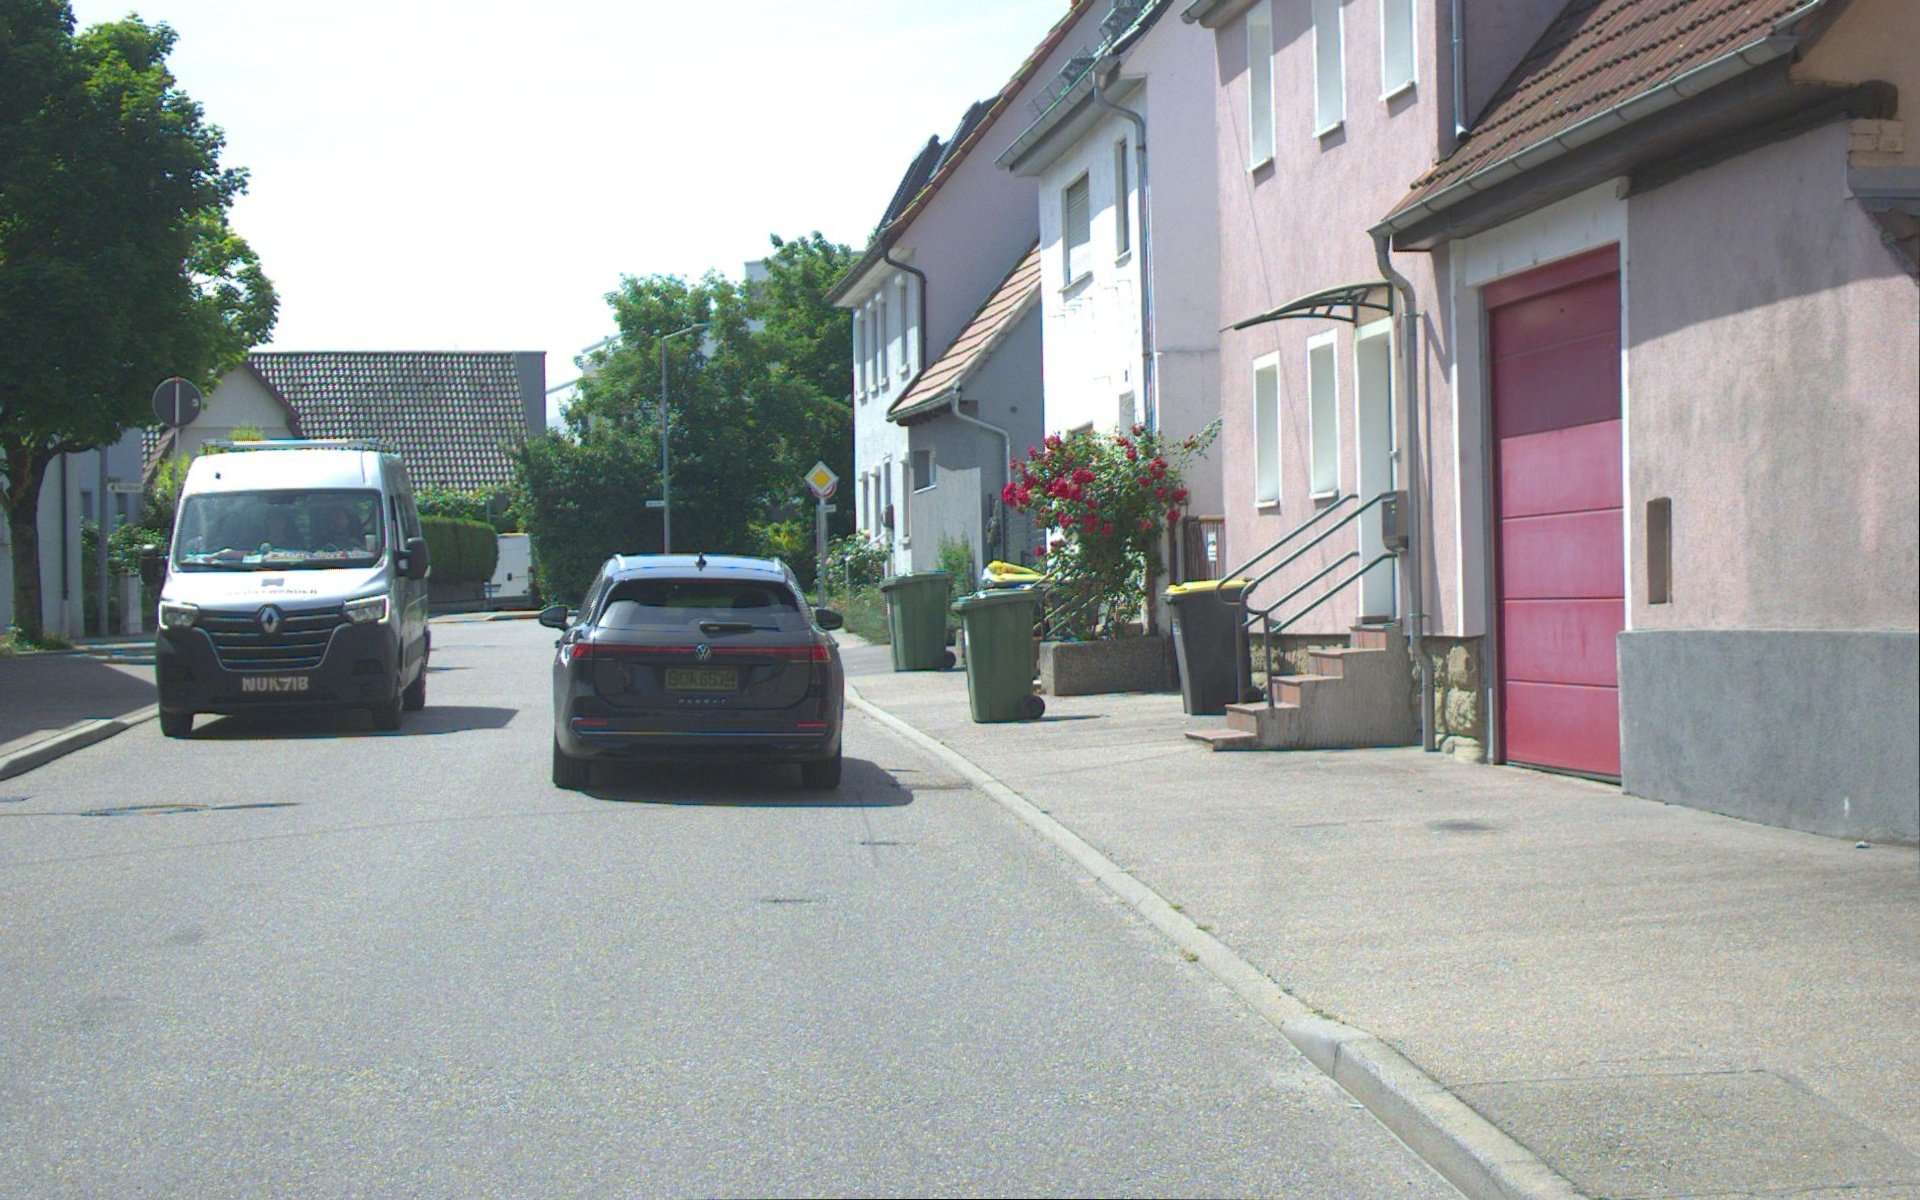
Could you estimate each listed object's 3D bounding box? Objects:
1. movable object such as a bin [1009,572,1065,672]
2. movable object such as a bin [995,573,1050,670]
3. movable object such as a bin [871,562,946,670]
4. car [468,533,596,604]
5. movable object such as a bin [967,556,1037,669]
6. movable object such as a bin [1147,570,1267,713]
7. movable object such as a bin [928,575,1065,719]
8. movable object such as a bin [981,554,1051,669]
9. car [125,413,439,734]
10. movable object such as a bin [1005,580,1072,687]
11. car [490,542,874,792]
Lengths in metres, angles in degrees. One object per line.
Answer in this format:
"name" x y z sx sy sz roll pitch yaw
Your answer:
"movable object such as a bin" 0.783 0.221 34.936 0.503 0.990 0.442 -1 1 -6
"movable object such as a bin" 0.650 0.223 35.810 0.503 0.990 0.442 -1 1 -6
"movable object such as a bin" -0.562 0.166 37.324 0.678 1.151 0.820 0 1 -10
"car" -12.693 -0.957 102.289 2.129 2.007 4.935 0 1 14
"movable object such as a bin" 0.449 0.129 37.074 0.664 1.190 0.660 -1 1 -6
"movable object such as a bin" 1.943 0.318 27.129 0.678 1.046 0.835 -5 2 -10
"movable object such as a bin" 0.292 0.374 28.165 0.875 1.071 0.873 -5 2 -10
"movable object such as a bin" 0.590 0.112 36.340 0.664 1.190 0.588 -1 1 -6
"car" -5.962 -0.276 30.923 2.114 2.554 5.828 -2 1 -5
"movable object such as a bin" 0.775 0.326 34.086 0.592 1.036 0.531 -1 1 -6
"car" -1.939 0.363 22.542 1.841 1.415 4.684 1 1 -13
